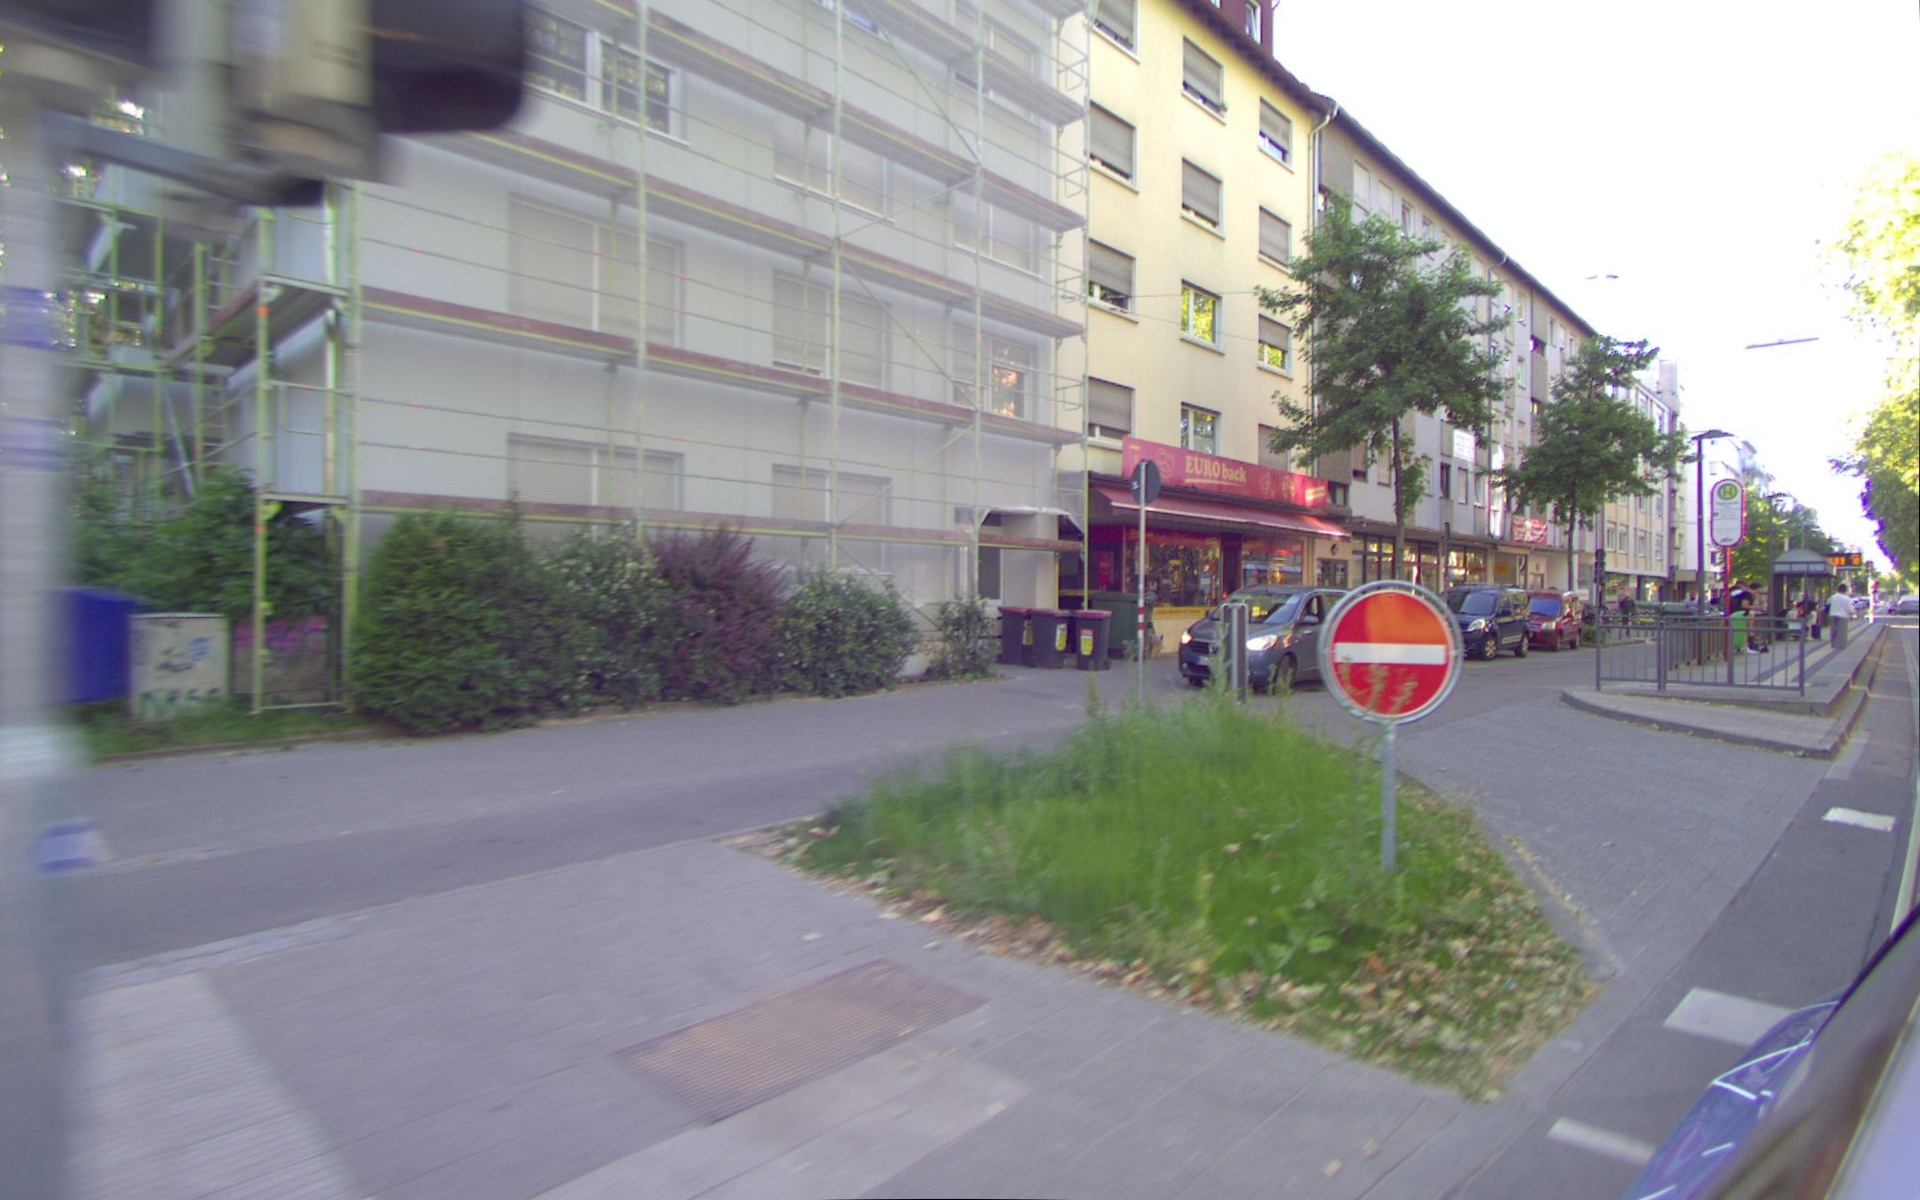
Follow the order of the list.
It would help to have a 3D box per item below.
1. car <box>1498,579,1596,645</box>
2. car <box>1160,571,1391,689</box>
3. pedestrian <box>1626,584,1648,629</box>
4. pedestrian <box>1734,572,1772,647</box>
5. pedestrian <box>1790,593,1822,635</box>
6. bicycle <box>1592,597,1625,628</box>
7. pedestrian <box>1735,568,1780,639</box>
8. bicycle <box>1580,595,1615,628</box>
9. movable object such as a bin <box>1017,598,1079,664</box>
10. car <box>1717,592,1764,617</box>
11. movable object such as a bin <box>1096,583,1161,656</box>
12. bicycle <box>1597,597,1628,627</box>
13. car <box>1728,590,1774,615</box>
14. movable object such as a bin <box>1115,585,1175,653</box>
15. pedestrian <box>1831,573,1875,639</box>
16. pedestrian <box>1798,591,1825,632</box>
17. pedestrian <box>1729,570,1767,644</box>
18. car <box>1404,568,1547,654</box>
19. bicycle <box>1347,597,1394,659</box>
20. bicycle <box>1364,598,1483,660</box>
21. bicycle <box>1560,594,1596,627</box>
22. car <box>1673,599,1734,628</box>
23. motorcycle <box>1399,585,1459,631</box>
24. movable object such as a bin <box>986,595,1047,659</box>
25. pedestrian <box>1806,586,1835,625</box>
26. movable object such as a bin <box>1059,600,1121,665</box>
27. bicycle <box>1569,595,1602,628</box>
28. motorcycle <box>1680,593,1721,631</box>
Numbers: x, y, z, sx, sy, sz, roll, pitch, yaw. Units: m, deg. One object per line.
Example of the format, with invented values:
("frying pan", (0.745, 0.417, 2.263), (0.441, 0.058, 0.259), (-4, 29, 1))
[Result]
("car", (17.842, 0.308, 30.672), (1.688, 1.776, 4.110), (5, 3, 42))
("car", (5.272, 0.426, 16.589), (1.763, 1.642, 4.369), (3, 2, 45))
("pedestrian", (27.835, 0.257, 41.603), (0.676, 1.827, 0.763), (-1, 0, 38))
("pedestrian", (19.023, 0.221, 24.287), (0.686, 1.777, 0.572), (-1, -1, 38))
("pedestrian", (27.606, 0.458, 33.035), (0.716, 1.343, 0.487), (-1, -1, 34))
("bicycle", (26.984, 0.533, 42.097), (0.770, 1.194, 2.743), (7, 3, 39))
("pedestrian", (19.938, 0.086, 25.324), (0.842, 1.722, 0.683), (-1, -1, 38))
("bicycle", (25.854, 0.474, 41.040), (0.770, 1.194, 2.743), (7, 3, 39))
("movable object such as a bin", (1.605, 0.545, 18.447), (0.880, 1.124, 0.686), (2, 2, 42))
("car", (48.214, 0.256, 62.469), (1.894, 1.505, 3.937), (-1, 0, 44))
("movable object such as a bin", (3.392, 0.370, 20.354), (0.999, 1.414, 0.812), (2, 2, 42))
("bicycle", (28.229, 0.541, 43.761), (0.770, 1.194, 2.743), (7, 3, 39))
("car", (51.995, 0.151, 66.479), (1.993, 1.601, 3.937), (-1, 0, 44))
("movable object such as a bin", (3.895, 0.383, 21.287), (0.923, 1.367, 0.812), (2, 2, 42))
("pedestrian", (23.963, 0.169, 27.165), (0.629, 1.734, 0.834), (0, -1, -45))
("pedestrian", (28.047, 0.386, 33.330), (0.582, 1.322, 0.521), (-1, -1, 33))
("pedestrian", (19.375, 0.174, 24.888), (0.689, 1.792, 0.494), (0, -1, -31))
("car", (13.240, 0.244, 25.895), (4.125, 1.919, 1.996), (0, 4, -45))
("bicycle", (9.070, 0.589, 22.436), (0.675, 1.224, 2.201), (2, 2, 15))
("bicycle", (10.328, 0.620, 22.603), (2.205, 1.224, 1.013), (3, 2, 44))
("bicycle", (24.230, 0.427, 39.650), (0.770, 1.194, 2.743), (7, 3, 39))
("car", (40.476, 0.731, 55.090), (4.584, 1.502, 1.954), (0, -1, -45))
("motorcycle", (15.214, 0.270, 32.778), (0.952, 1.332, 2.610), (7, 3, 41))
("movable object such as a bin", (1.056, 0.490, 18.926), (0.880, 1.124, 0.686), (2, 2, 42))
("pedestrian", (35.587, 0.218, 41.844), (0.837, 1.596, 0.650), (0, -1, -28))
("movable object such as a bin", (2.359, 0.574, 18.384), (0.880, 1.124, 0.686), (2, 2, 42))
("bicycle", (25.031, 0.423, 40.533), (0.767, 1.194, 2.756), (6, 3, 27))
("motorcycle", (29.871, 0.469, 40.806), (1.052, 1.473, 2.174), (-1, 0, 44))
